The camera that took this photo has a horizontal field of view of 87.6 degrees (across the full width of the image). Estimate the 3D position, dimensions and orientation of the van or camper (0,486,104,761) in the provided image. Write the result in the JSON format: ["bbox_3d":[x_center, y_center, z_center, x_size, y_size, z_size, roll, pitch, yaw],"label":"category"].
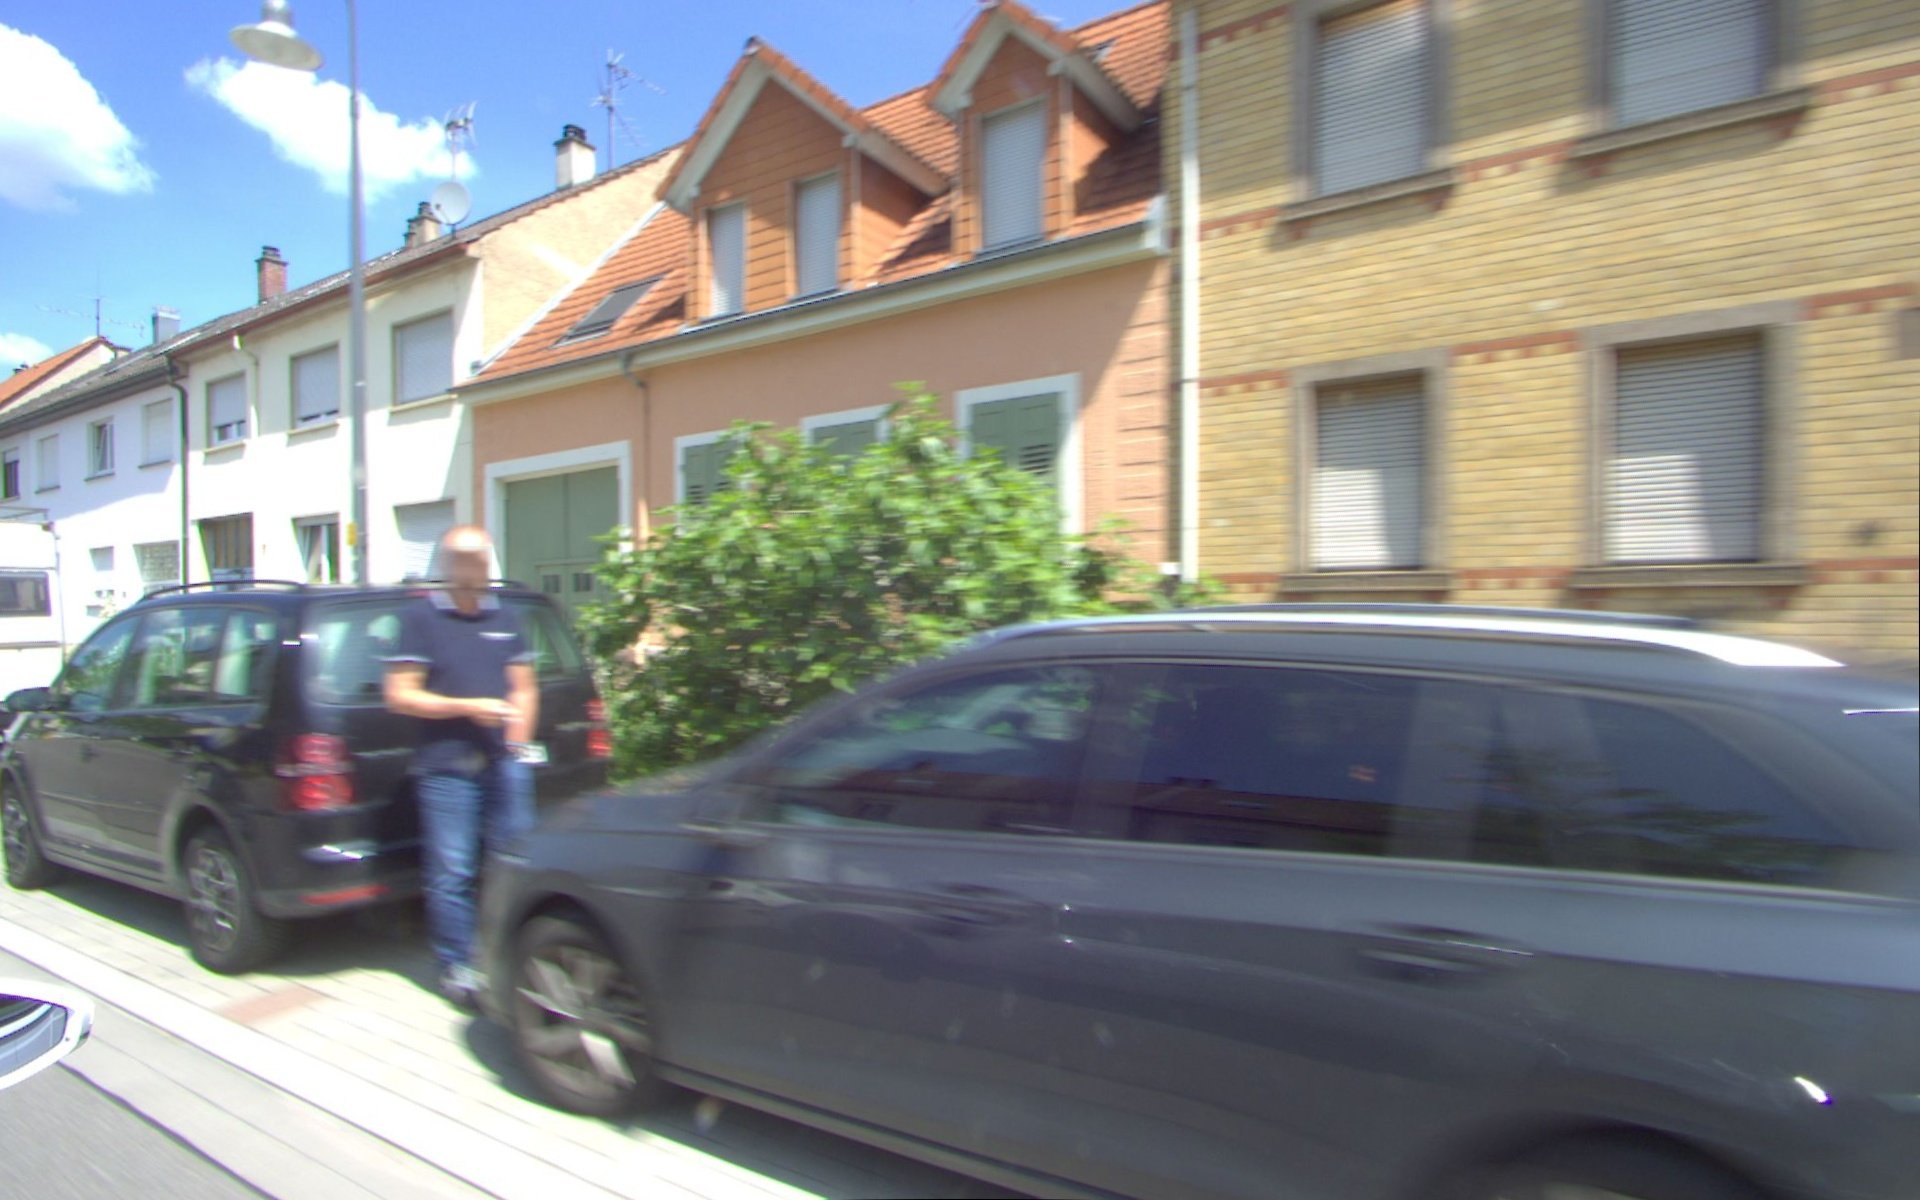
[{"bbox_3d":[-12.564,0.279,11.573,5.707,2.847,2.468,-1,0,32],"label":"van or camper"}]

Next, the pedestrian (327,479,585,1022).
[{"bbox_3d":[-1.954,0.531,3.921,0.570,1.877,0.715,-1,-1,32],"label":"pedestrian"}]

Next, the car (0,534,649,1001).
[{"bbox_3d":[-3.867,0.678,5.616,4.264,1.727,1.763,-1,-1,33],"label":"car"}]

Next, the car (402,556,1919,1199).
[{"bbox_3d":[0.445,0.740,2.922,4.233,1.507,1.764,-1,-1,31],"label":"car"}]
